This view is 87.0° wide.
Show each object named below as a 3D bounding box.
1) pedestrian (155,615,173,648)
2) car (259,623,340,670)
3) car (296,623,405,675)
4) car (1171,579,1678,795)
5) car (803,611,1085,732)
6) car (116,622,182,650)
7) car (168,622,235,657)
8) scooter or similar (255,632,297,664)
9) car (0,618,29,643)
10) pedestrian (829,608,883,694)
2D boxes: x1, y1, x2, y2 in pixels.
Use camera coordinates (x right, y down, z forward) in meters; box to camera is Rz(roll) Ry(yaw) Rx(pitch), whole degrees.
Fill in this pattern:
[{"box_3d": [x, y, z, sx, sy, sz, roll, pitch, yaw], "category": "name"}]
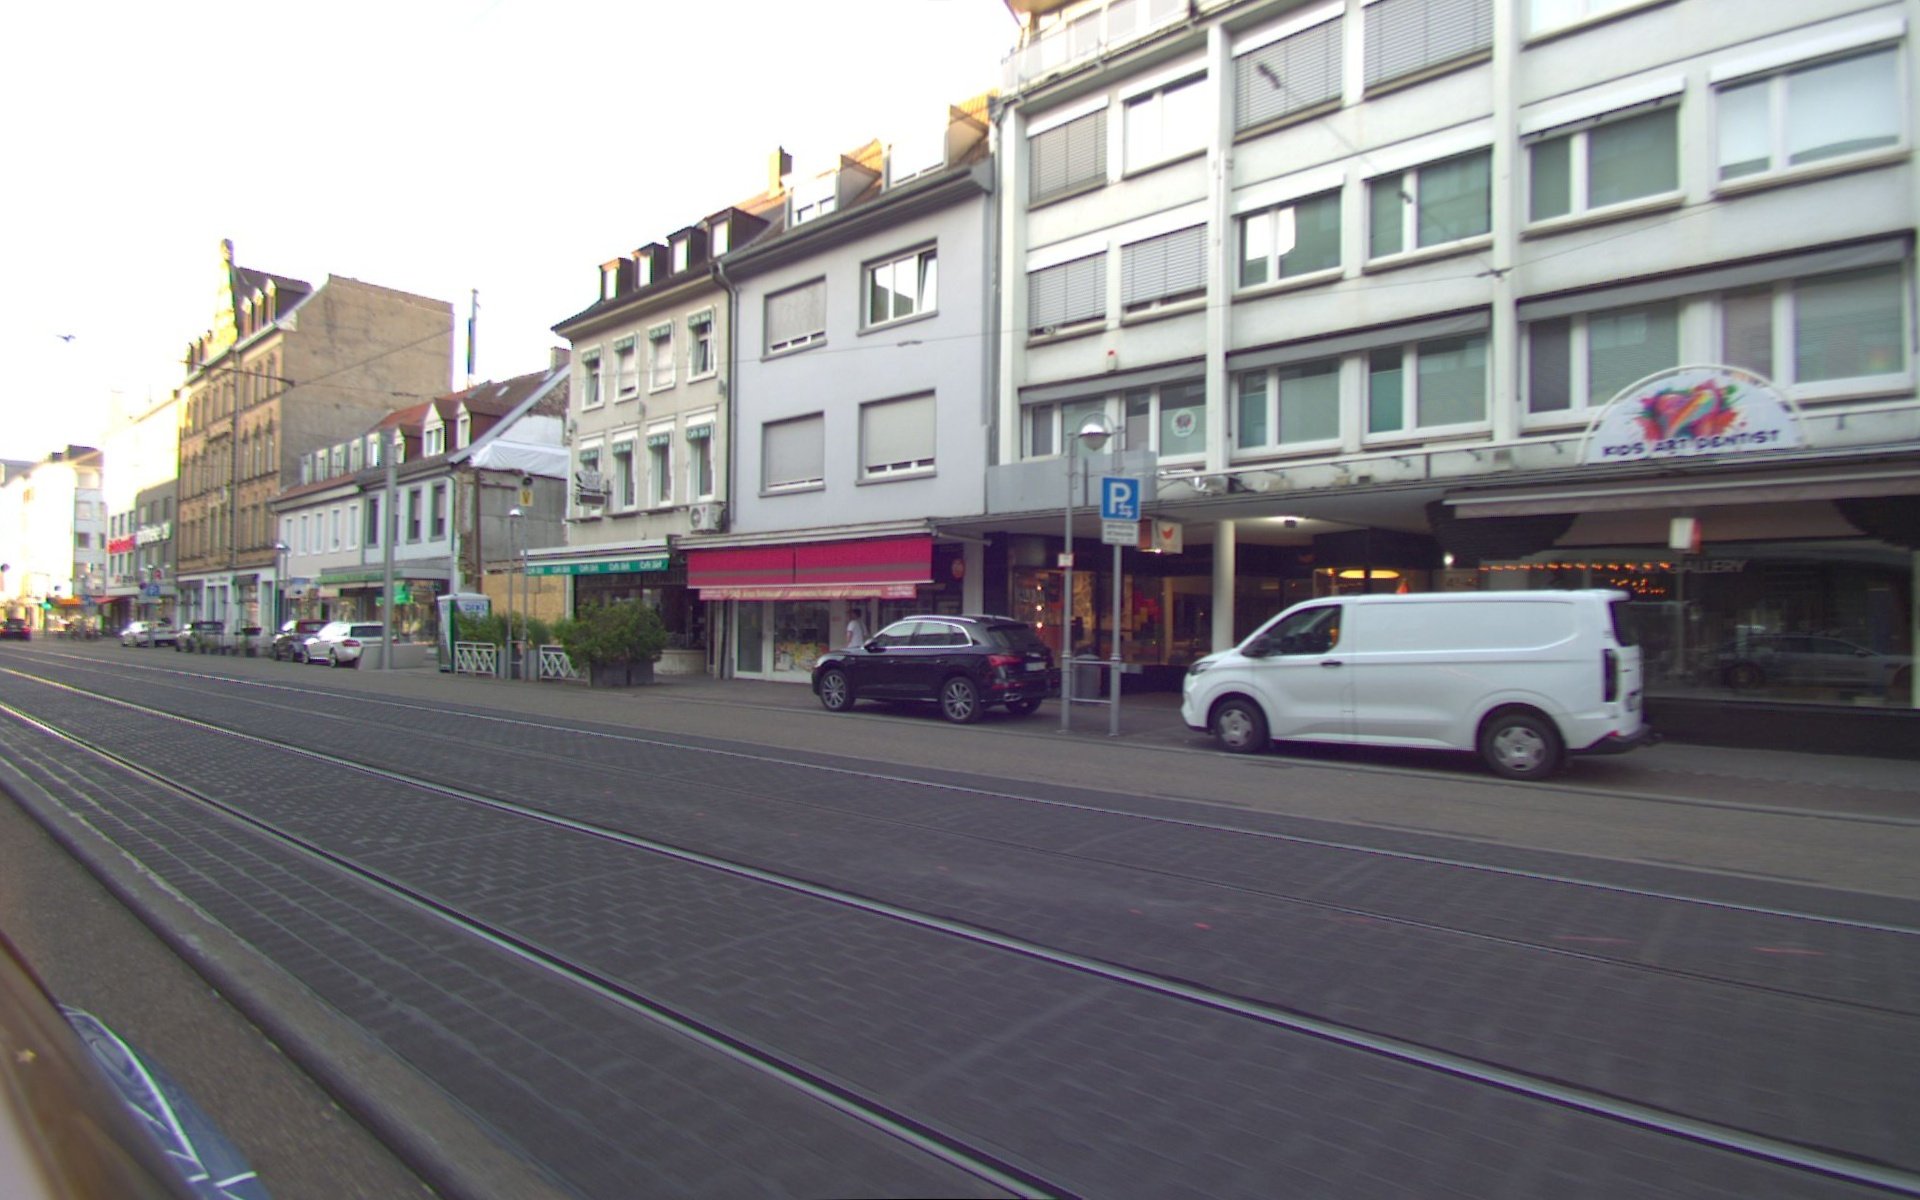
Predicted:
[{"box_3d": [-49.354, 1.960, 62.738, 0.738, 2.029, 1.049, -1, 0, -45], "category": "pedestrian"}, {"box_3d": [-24.664, 1.691, 37.758, 3.469, 1.582, 1.638, -1, 0, 41], "category": "car"}, {"box_3d": [-20.882, 1.607, 34.590, 4.621, 1.568, 1.871, -1, 0, 41], "category": "car"}, {"box_3d": [5.234, 0.826, 11.897, 5.096, 2.029, 1.944, -1, 0, 40], "category": "car"}, {"box_3d": [-0.373, 1.060, 16.951, 4.586, 1.710, 1.973, -1, 0, 41], "category": "car"}, {"box_3d": [-45.171, 1.976, 56.331, 4.399, 1.431, 1.974, -1, 0, 39], "category": "car"}, {"box_3d": [-36.183, 1.851, 48.244, 3.814, 1.504, 1.822, -1, 0, 41], "category": "car"}, {"box_3d": [-26.878, 1.888, 39.777, 0.311, 1.177, 1.347, -1, 0, 43], "category": "scooter or similar"}, {"box_3d": [-64.056, 2.044, 67.805, 3.997, 1.574, 1.973, -1, 0, 40], "category": "car"}, {"box_3d": [-2.233, 1.076, 21.779, 0.818, 1.795, 0.809, -1, 0, 41], "category": "pedestrian"}]
